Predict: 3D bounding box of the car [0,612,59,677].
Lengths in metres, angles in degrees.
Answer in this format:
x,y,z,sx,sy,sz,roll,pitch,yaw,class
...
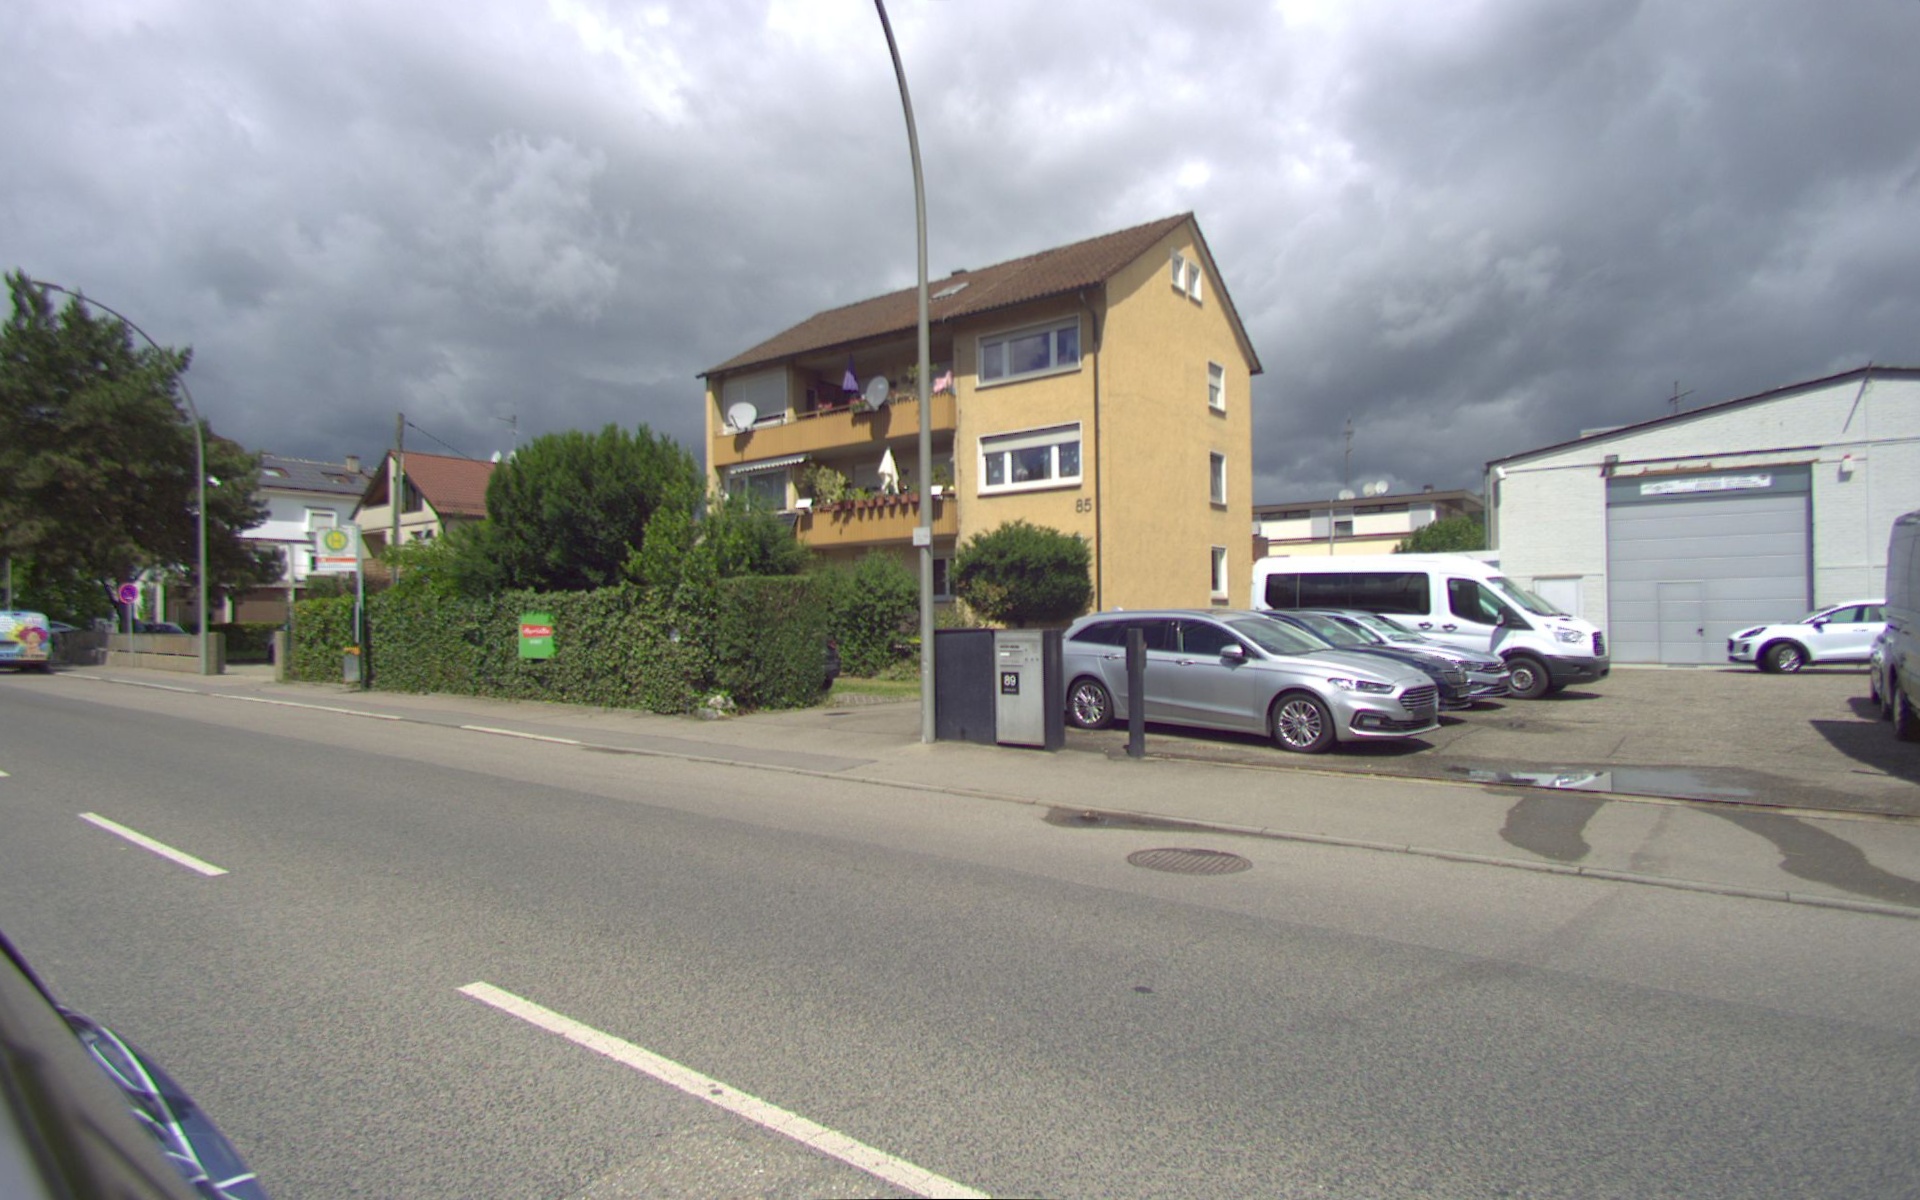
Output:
x,y,z,sx,sy,sz,roll,pitch,yaw,class
-29.514,1.385,31.074,4.888,1.868,1.816,-2,-6,38,car

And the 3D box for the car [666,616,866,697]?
x,y,z,sx,sy,sz,roll,pitch,yaw,class
-3.940,1.054,20.099,1.823,1.437,4.333,2,-2,-45,car

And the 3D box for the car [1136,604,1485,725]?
x,y,z,sx,sy,sz,roll,pitch,yaw,class
4.774,0.829,14.320,1.822,1.437,4.337,1,-2,-41,car

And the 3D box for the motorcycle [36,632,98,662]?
x,y,z,sx,sy,sz,roll,pitch,yaw,class
-37.051,1.937,42.003,1.845,1.174,0.826,1,-2,-36,motorcycle

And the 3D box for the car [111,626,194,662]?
x,y,z,sx,sy,sz,roll,pitch,yaw,class
-36.079,1.950,45.172,4.077,1.555,1.752,-1,-2,34,car

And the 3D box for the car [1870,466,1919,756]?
x,y,z,sx,sy,sz,roll,pitch,yaw,class
9.722,0.112,8.560,2.473,2.515,5.980,-1,-2,37,car

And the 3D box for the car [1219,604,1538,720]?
x,y,z,sx,sy,sz,roll,pitch,yaw,class
6.494,0.910,16.107,1.822,1.589,4.337,1,-2,-41,car

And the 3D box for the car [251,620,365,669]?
x,y,z,sx,sy,sz,roll,pitch,yaw,class
-25.918,1.729,40.144,5.470,1.845,2.060,-1,-3,37,car

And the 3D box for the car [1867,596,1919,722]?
x,y,z,sx,sy,sz,roll,pitch,yaw,class
13.087,0.720,13.068,1.954,1.490,3.997,-1,-2,41,car

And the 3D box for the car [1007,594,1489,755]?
x,y,z,sx,sy,sz,roll,pitch,yaw,class
3.126,0.760,12.130,1.969,1.497,5.347,1,-2,-41,car

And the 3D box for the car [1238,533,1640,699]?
x,y,z,sx,sy,sz,roll,pitch,yaw,class
8.397,0.346,18.218,6.131,2.514,2.387,-1,-4,41,car

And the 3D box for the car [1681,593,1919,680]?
x,y,z,sx,sy,sz,roll,pitch,yaw,class
18.468,0.768,21.566,4.995,1.726,2.031,-1,-2,35,car

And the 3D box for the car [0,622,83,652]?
x,y,z,sx,sy,sz,roll,pitch,yaw,class
-51.418,2.009,55.288,1.969,1.563,4.963,-1,-1,36,car
